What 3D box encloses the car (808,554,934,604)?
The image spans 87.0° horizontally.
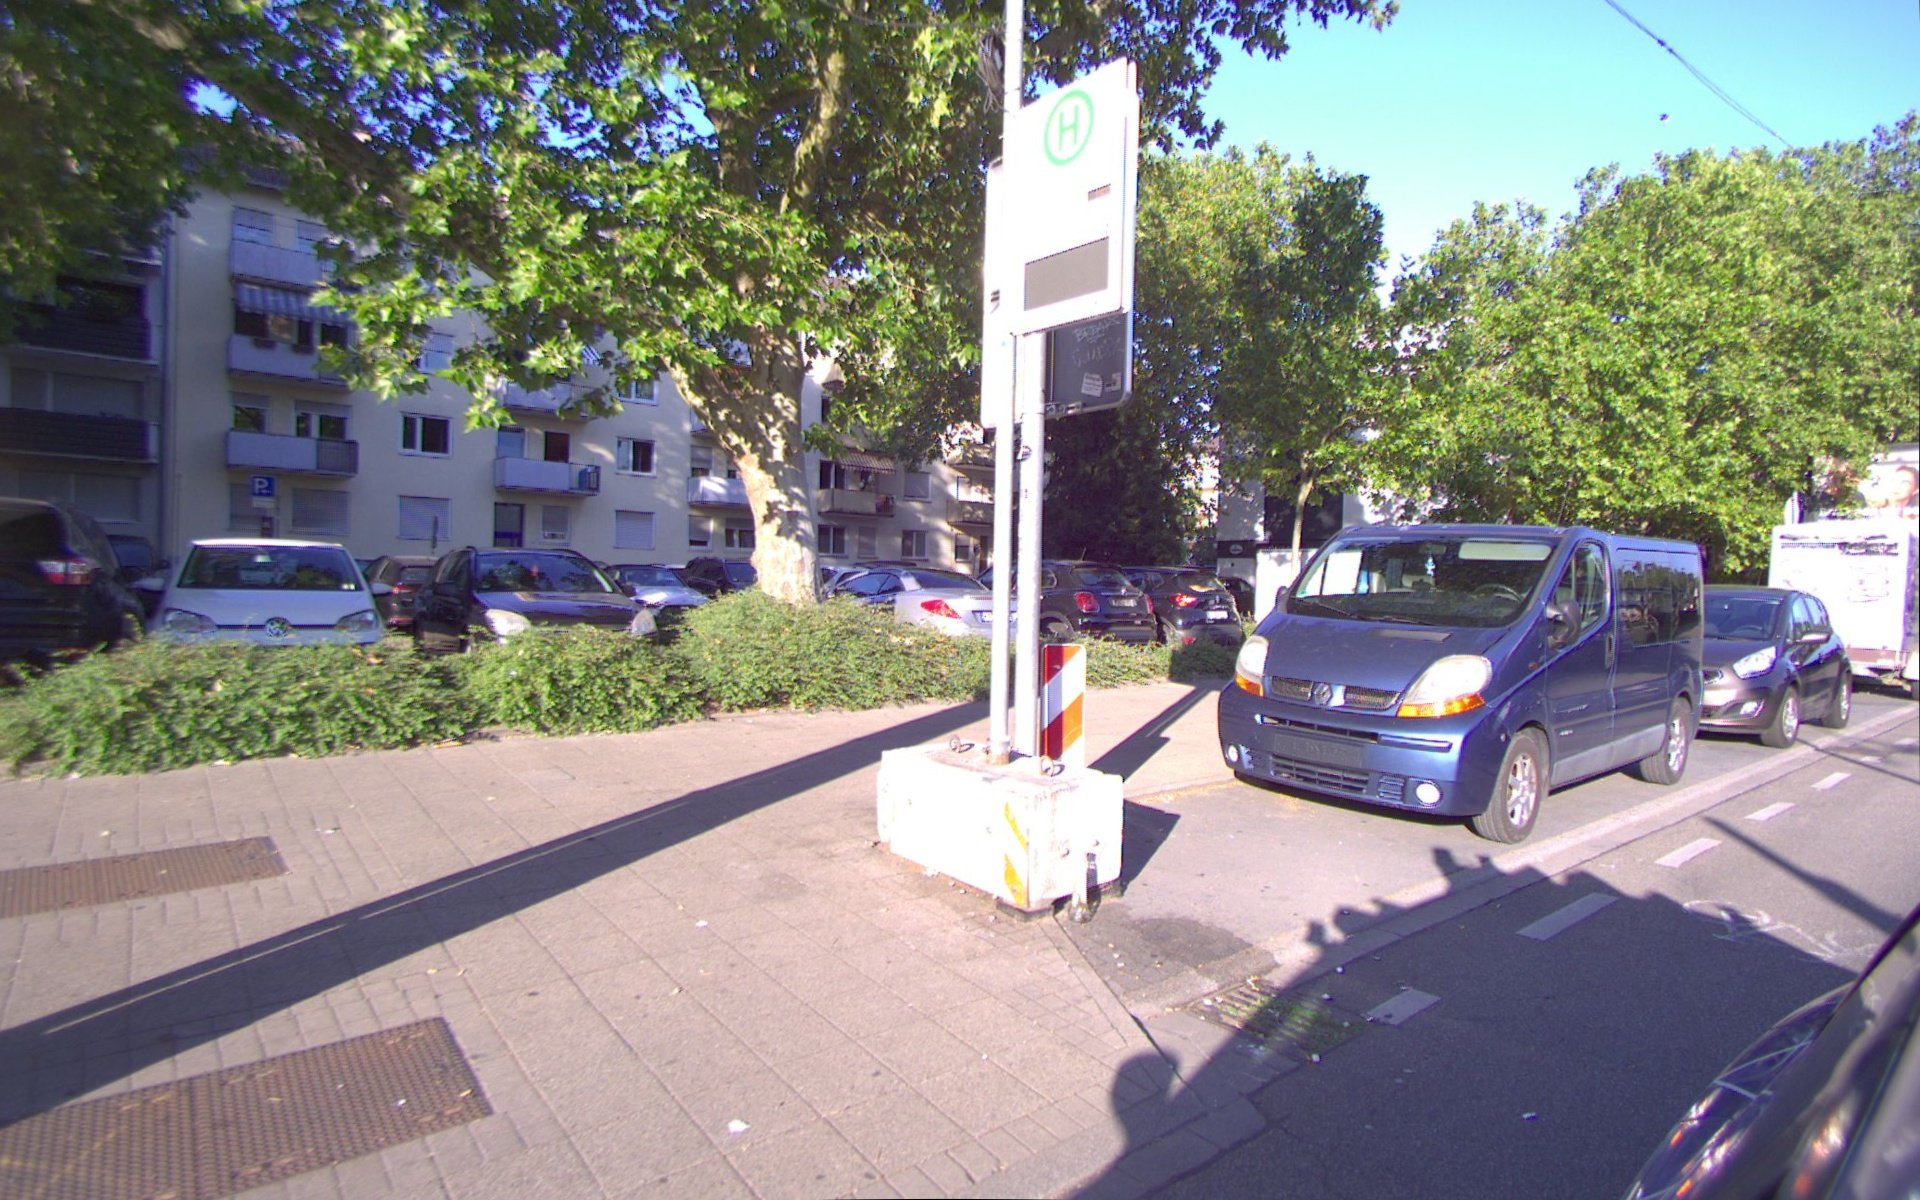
[{"bbox_3d":[-3.003,-0.718,33.604,1.966,1.514,4.288,0,2,-42],"label":"car"}]

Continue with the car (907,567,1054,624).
[{"bbox_3d":[0.543,-0.177,29.976,1.966,1.514,4.288,0,2,-42],"label":"car"}]

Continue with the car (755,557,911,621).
[{"bbox_3d":[-3.407,-0.336,26.600,1.966,1.514,4.288,0,2,-42],"label":"car"}]

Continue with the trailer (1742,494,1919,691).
[{"bbox_3d":[13.925,-0.133,15.626,4.567,2.620,1.890,0,2,-39],"label":"trailer"}]

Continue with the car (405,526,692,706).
[{"bbox_3d":[-4.496,0.058,10.668,1.769,1.513,4.124,0,2,-37],"label":"car"}]

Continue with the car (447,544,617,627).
[{"bbox_3d":[-9.027,-0.353,21.143,1.966,1.553,4.288,0,2,-42],"label":"car"}]

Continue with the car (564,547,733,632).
[{"bbox_3d":[-7.020,-0.293,22.578,1.966,1.712,4.288,0,2,-42],"label":"car"}]

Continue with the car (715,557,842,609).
[{"bbox_3d":[-5.756,-0.571,31.750,1.966,1.514,4.288,0,2,-42],"label":"car"}]

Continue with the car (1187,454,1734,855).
[{"bbox_3d":[3.866,0.257,7.459,4.480,2.104,1.889,0,2,-39],"label":"car"}]

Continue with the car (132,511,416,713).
[{"bbox_3d":[-6.386,0.107,9.346,1.769,1.455,3.850,2,-1,-37],"label":"car"}]

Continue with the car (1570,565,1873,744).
[{"bbox_3d":[8.635,0.490,11.368,3.928,1.651,1.800,0,2,-39],"label":"car"}]

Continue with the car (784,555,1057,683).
[{"bbox_3d":[-0.707,0.156,14.243,1.769,1.513,4.124,0,2,-37],"label":"car"}]

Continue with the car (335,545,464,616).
[{"bbox_3d":[-13.102,-0.488,23.552,1.786,1.514,3.876,0,2,-42],"label":"car"}]

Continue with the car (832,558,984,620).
[{"bbox_3d":[-1.528,-0.355,28.233,1.966,1.553,4.288,0,2,-42],"label":"car"}]

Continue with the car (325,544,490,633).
[{"bbox_3d":[-10.930,-0.272,19.889,1.965,1.553,4.289,0,2,-41],"label":"car"}]

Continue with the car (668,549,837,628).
[{"bbox_3d":[-5.056,-0.334,24.240,1.966,1.712,4.449,0,2,-42],"label":"car"}]

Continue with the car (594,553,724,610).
[{"bbox_3d":[-8.734,-0.562,29.169,1.948,1.514,4.288,0,2,-42],"label":"car"}]

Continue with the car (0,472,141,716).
[{"bbox_3d":[-7.897,-0.051,8.202,1.822,1.652,3.850,0,0,-37],"label":"car"}]

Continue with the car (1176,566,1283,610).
[{"bbox_3d":[11.411,-0.507,42.875,4.114,1.773,2.003,1,1,-29],"label":"car"}]

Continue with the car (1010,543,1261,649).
[{"bbox_3d":[2.847,-0.052,17.210,1.769,1.570,4.122,0,-1,-37],"label":"car"}]

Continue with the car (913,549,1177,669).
[{"bbox_3d":[1.178,0.045,15.760,1.769,1.619,4.124,0,2,-37],"label":"car"}]
